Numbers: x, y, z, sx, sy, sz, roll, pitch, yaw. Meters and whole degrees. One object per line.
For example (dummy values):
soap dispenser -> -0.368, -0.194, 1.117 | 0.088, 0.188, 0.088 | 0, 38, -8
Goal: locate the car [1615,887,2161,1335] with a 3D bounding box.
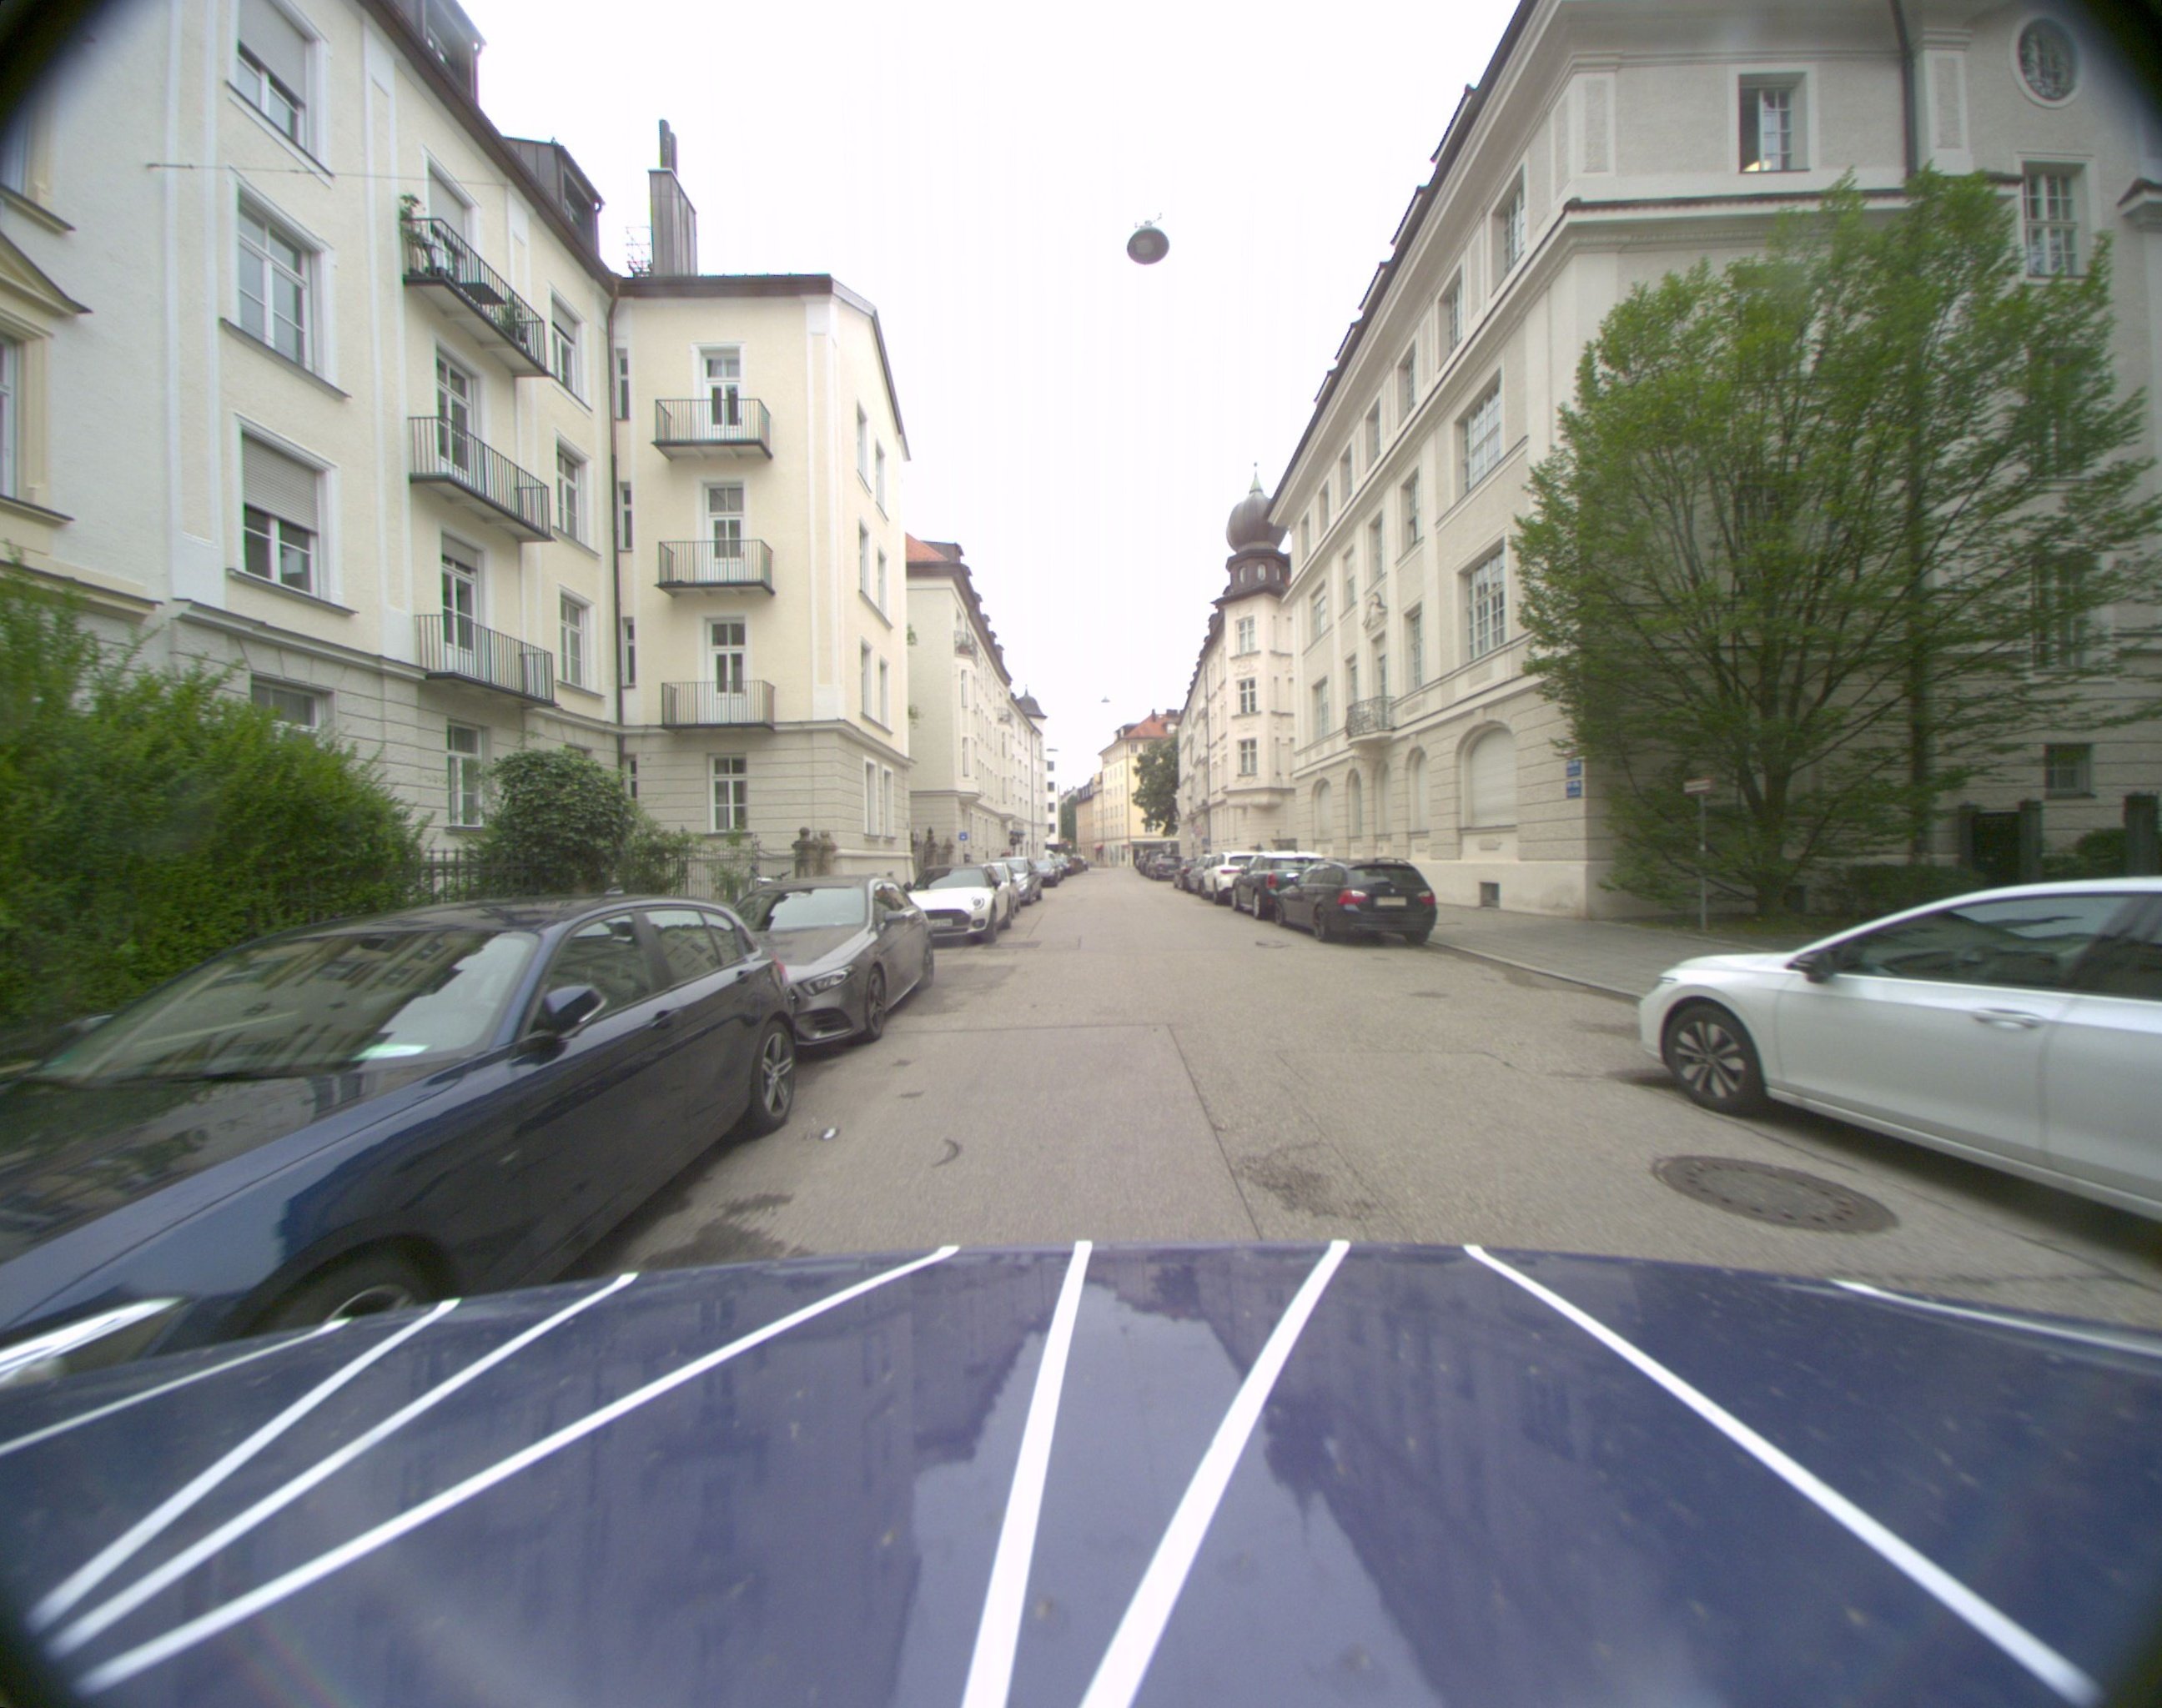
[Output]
car -> 4.595, 0.935, 3.074 | 1.841, 1.425, 4.244 | 1, 0, -1

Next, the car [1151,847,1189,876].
car -> 5.242, 0.416, 45.098 | 1.731, 1.609, 4.121 | 1, 0, -1

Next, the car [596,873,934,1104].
car -> -2.661, 1.020, 7.492 | 1.688, 1.495, 4.017 | -2, 0, -1

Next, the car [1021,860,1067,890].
car -> -1.916, 1.070, 40.613 | 1.998, 1.449, 4.713 | -1, 0, 2

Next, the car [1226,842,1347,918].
car -> 4.848, 0.584, 18.558 | 1.841, 1.609, 4.245 | -1, 0, 1

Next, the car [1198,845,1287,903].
car -> 4.939, 0.587, 23.857 | 1.919, 1.609, 4.572 | -1, 0, 2

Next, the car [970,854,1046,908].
car -> -2.388, 0.859, 25.892 | 1.826, 1.560, 4.401 | -4, 0, 3

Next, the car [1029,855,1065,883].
car -> -1.961, 0.869, 45.416 | 1.765, 1.477, 4.421 | -4, 0, 2

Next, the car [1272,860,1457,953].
car -> 4.935, 0.825, 13.946 | 1.791, 1.404, 4.367 | -1, 0, 1

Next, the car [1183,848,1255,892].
car -> 5.198, 0.572, 29.165 | 1.787, 1.532, 4.256 | 1, 0, -2

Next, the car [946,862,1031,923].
car -> -2.395, 0.966, 20.419 | 1.758, 1.398, 3.451 | -2, 0, 1

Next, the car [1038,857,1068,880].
car -> -1.890, 0.941, 50.896 | 1.841, 1.391, 4.973 | -3, 0, -2

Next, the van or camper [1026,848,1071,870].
van or camper -> -4.354, 0.623, 100.554 | 5.869, 2.697, 2.304 | -1, -3, -5

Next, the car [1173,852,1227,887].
car -> 5.229, 0.644, 33.861 | 1.797, 1.407, 4.278 | 1, 0, 1

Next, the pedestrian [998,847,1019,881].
pedestrian -> -3.899, 0.523, 40.820 | 0.885, 1.776, 1.111 | -1, 1, 5

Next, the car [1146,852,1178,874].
car -> 5.442, 0.572, 51.547 | 1.840, 1.386, 4.245 | 1, 0, 2

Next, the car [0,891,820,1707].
car -> -2.588, 1.067, 2.884 | 1.755, 1.601, 4.423 | -3, 0, -2

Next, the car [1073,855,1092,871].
car -> 0.209, 0.977, 84.468 | 1.840, 1.609, 4.095 | -4, 0, 3

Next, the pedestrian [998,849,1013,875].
pedestrian -> -5.325, 0.564, 53.944 | 0.885, 1.803, 1.111 | -1, 0, 2

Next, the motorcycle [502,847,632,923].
motorcycle -> -8.147, 0.480, 12.163 | 0.608, 1.105, 1.965 | 1, -1, 4

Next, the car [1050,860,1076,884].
car -> -1.370, 1.409, 60.062 | 1.804, 1.665, 4.189 | -4, 0, 1

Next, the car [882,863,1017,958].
car -> -2.384, 0.978, 14.810 | 1.788, 1.495, 4.065 | -2, 0, 1

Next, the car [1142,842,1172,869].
car -> 5.609, 0.138, 56.617 | 1.841, 1.883, 4.763 | 1, 0, 1

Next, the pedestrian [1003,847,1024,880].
pedestrian -> -3.730, 0.527, 42.067 | 0.885, 1.801, 1.111 | -1, 1, 6
